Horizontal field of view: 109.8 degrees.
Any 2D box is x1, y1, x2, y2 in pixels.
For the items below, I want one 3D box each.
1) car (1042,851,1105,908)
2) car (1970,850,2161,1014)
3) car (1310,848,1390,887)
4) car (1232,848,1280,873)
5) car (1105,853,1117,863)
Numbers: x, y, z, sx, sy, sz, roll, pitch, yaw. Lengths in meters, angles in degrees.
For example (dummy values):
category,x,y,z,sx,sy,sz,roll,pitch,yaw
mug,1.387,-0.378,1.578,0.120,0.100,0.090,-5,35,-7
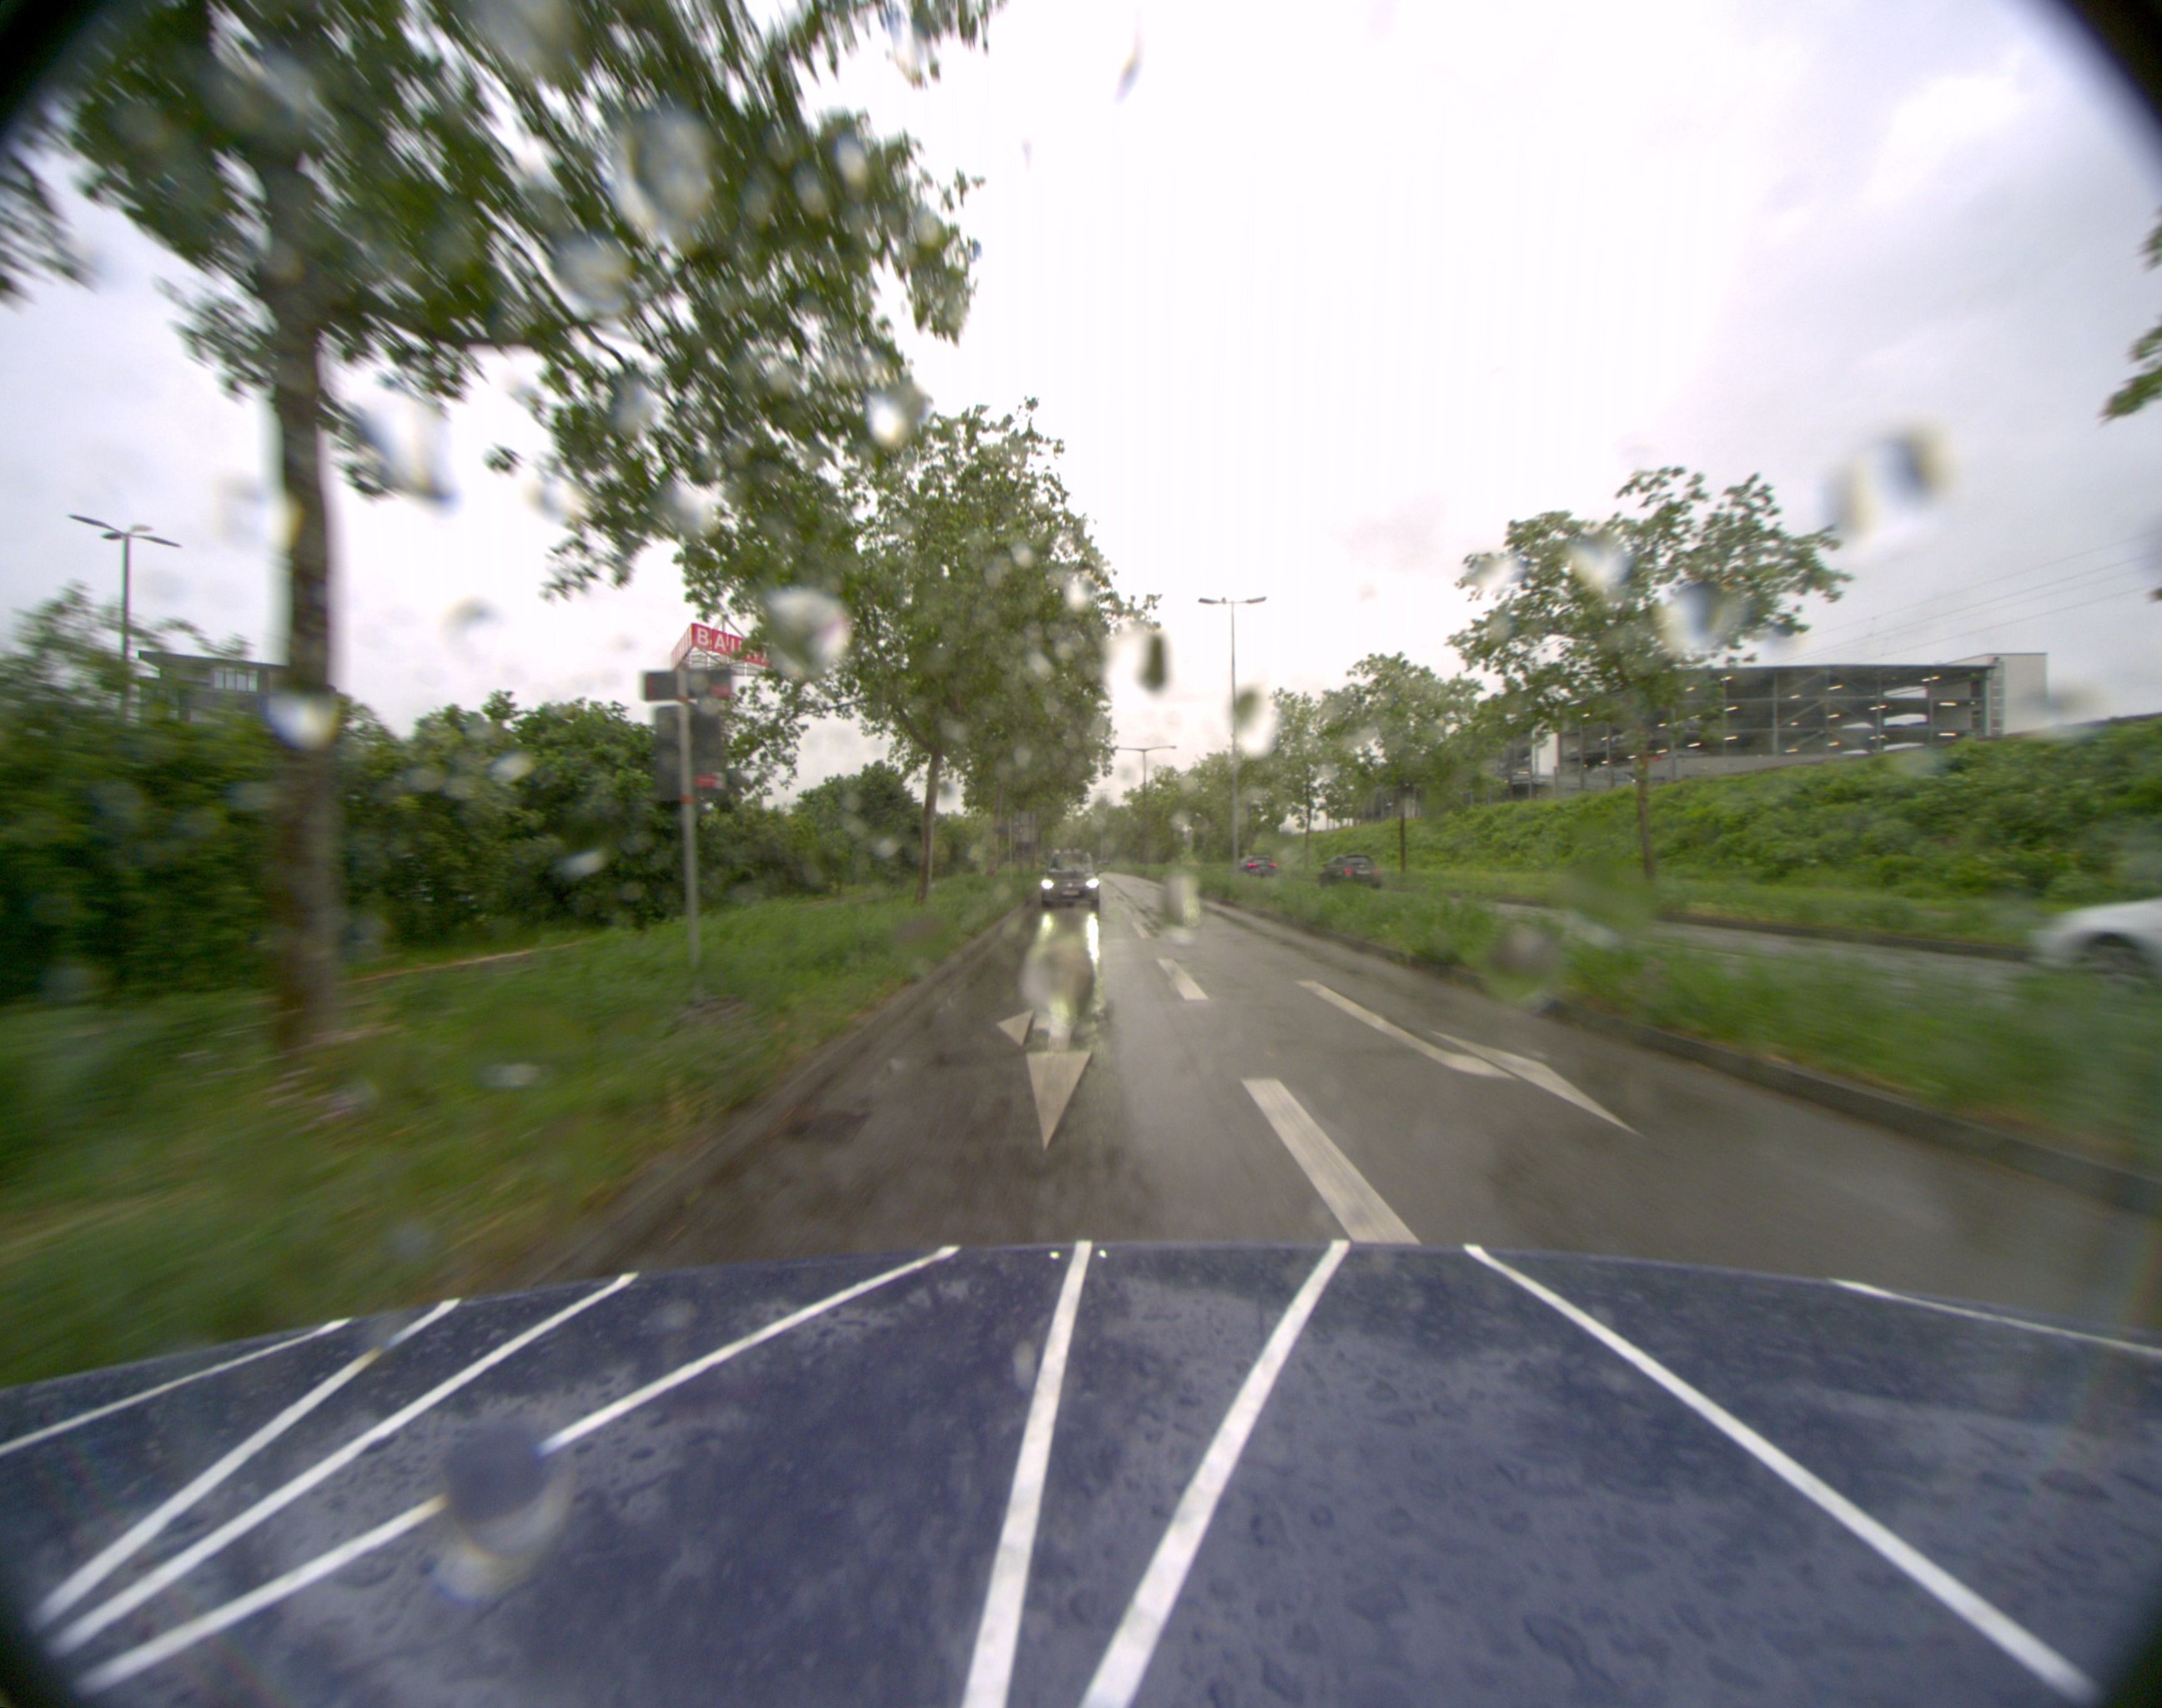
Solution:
category,x,y,z,sx,sy,sz,roll,pitch,yaw
car,-0.143,0.757,25.045,1.788,1.605,4.717,-2,1,2
car,10.744,0.718,6.039,1.936,1.436,4.657,-1,1,0
car,10.843,0.510,30.919,1.936,1.436,3.707,-1,1,0
car,10.724,0.351,46.817,1.936,1.436,4.496,-1,1,0
car,4.587,0.559,117.335,1.635,1.417,4.000,-1,0,0
